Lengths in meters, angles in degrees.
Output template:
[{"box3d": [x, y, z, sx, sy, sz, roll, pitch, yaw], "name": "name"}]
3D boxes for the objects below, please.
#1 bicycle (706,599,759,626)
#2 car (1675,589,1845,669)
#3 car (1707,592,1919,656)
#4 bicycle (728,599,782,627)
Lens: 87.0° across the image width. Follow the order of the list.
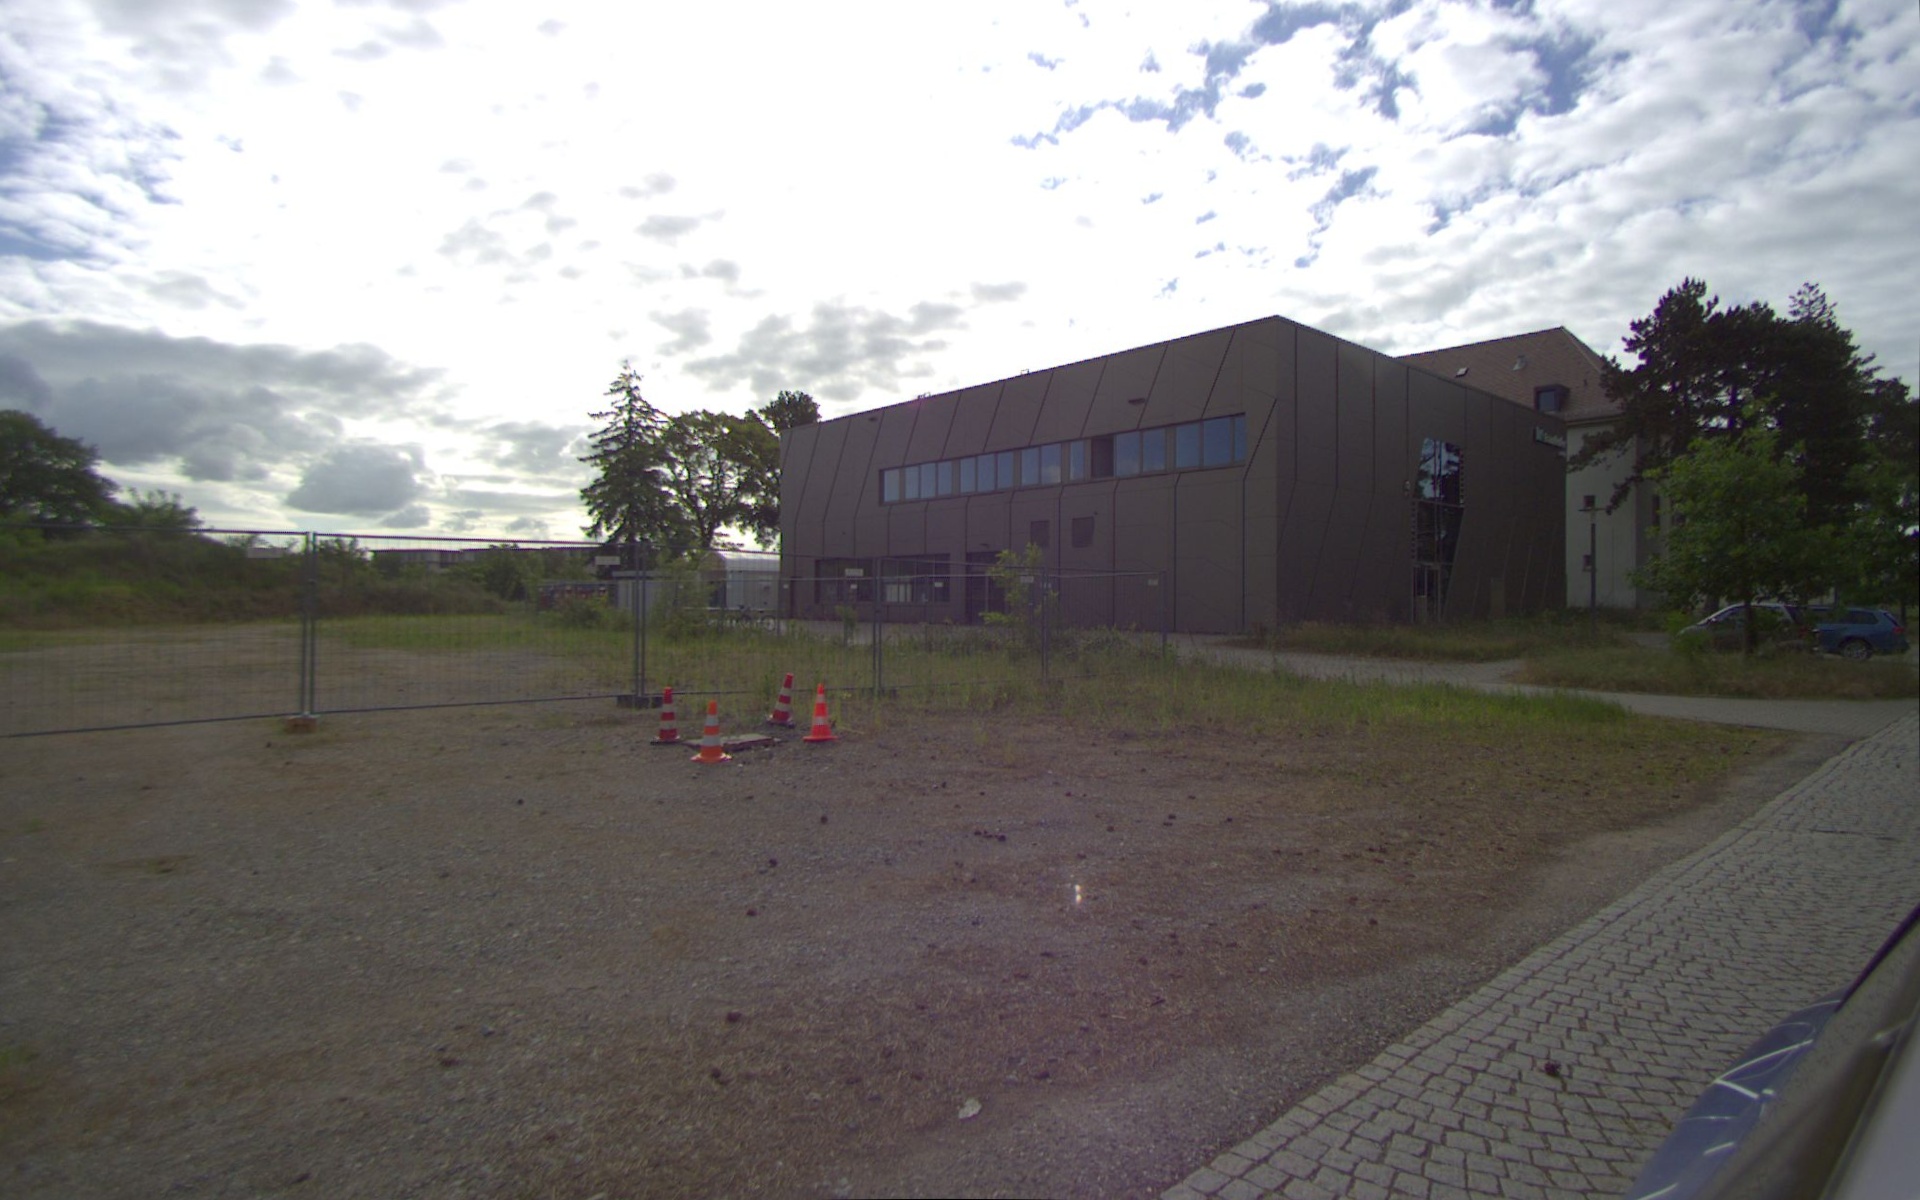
[{"box3d": [-9.347, 0.492, 41.618, 1.953, 1.038, 0.835, -1, 1, -39], "name": "bicycle"}, {"box3d": [18.229, 0.613, 23.117, 1.653, 1.601, 2.746, 0, 2, -41], "name": "car"}, {"box3d": [23.607, 0.602, 27.911, 1.899, 1.468, 4.531, 0, 2, -43], "name": "car"}, {"box3d": [-8.074, 0.491, 39.921, 1.953, 1.038, 0.835, -1, 1, -39], "name": "bicycle"}]
